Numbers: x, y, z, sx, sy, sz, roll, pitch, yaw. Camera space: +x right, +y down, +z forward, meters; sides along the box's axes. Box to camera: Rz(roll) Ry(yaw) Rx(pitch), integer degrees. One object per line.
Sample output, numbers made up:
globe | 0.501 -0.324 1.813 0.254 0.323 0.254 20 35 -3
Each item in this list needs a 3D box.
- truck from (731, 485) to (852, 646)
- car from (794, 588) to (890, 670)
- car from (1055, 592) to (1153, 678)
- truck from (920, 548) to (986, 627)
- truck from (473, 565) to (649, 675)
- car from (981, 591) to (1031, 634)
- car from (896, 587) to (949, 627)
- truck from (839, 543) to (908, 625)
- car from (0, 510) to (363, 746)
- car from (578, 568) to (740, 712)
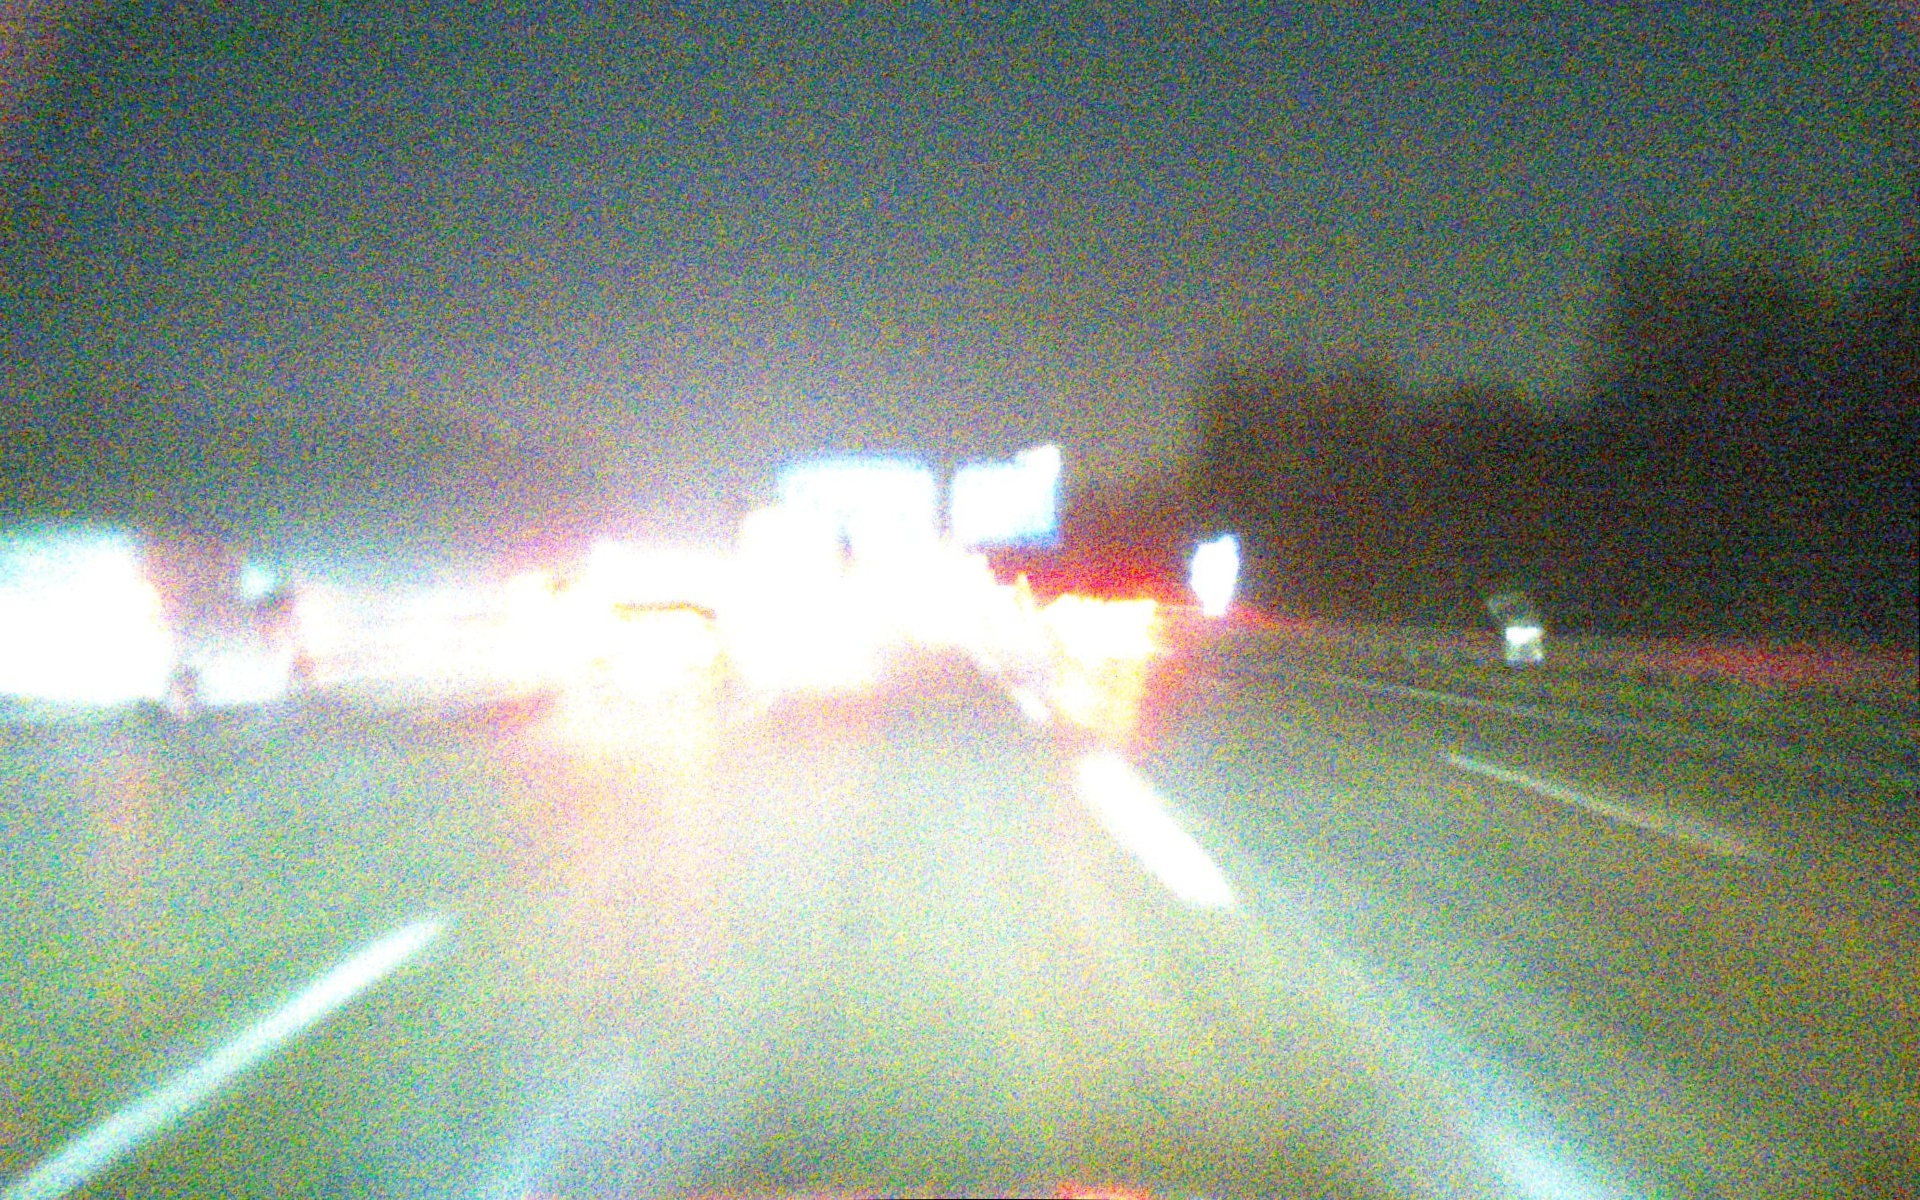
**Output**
truck | -5.564 -1.038 55.474 3.585 4.820 9.842 1 0 -5
car | -2.737 0.664 39.278 1.997 1.792 4.514 1 0 -1
car | 3.192 0.753 37.433 1.839 1.793 4.000 1 0 0
truck | -0.605 -0.853 118.346 4.079 5.306 9.947 1 0 -3
truck | -8.787 0.423 37.113 2.800 2.239 5.854 1 0 -4
car | 1.917 0.512 70.316 1.953 1.733 4.457 1 0 -1
car | -1.993 0.397 89.937 2.775 2.049 5.509 1 0 0
truck | -6.131 -1.088 119.313 4.166 5.539 10.885 1 0 1
car | -8.538 0.244 17.915 2.080 2.141 5.629 1 0 0
car | -3.907 0.463 22.019 1.731 1.718 3.996 1 1 -5
